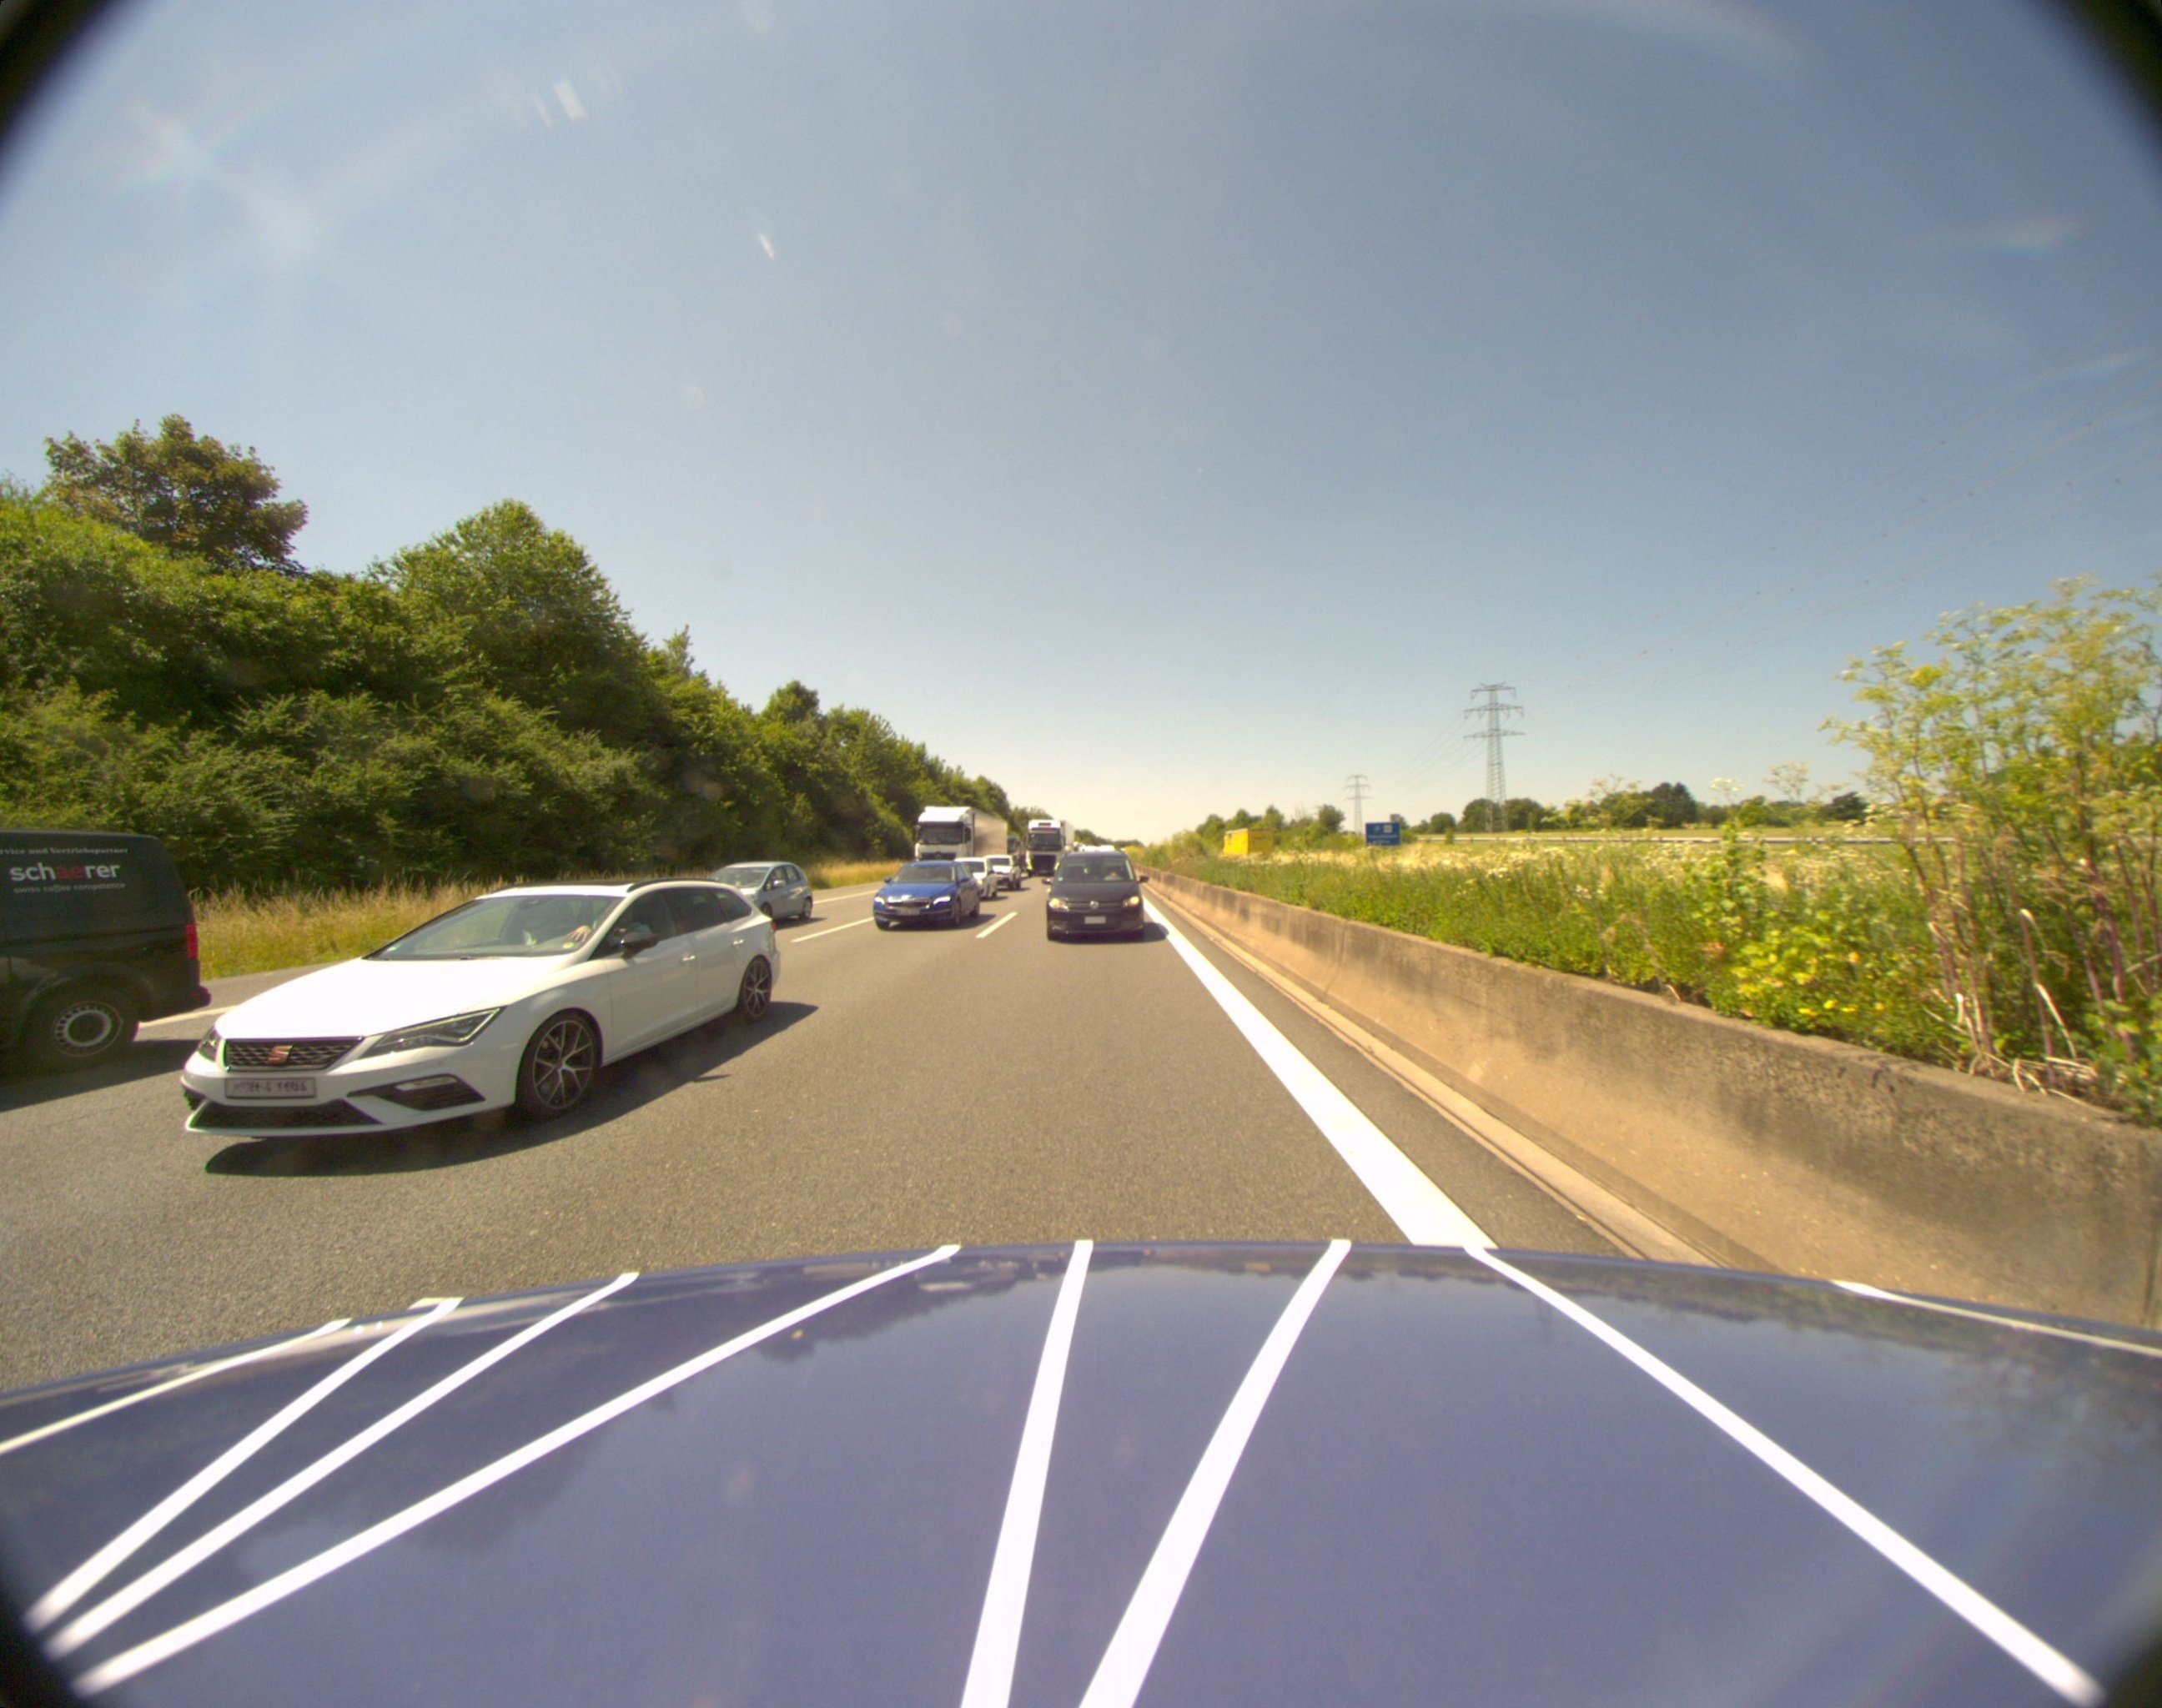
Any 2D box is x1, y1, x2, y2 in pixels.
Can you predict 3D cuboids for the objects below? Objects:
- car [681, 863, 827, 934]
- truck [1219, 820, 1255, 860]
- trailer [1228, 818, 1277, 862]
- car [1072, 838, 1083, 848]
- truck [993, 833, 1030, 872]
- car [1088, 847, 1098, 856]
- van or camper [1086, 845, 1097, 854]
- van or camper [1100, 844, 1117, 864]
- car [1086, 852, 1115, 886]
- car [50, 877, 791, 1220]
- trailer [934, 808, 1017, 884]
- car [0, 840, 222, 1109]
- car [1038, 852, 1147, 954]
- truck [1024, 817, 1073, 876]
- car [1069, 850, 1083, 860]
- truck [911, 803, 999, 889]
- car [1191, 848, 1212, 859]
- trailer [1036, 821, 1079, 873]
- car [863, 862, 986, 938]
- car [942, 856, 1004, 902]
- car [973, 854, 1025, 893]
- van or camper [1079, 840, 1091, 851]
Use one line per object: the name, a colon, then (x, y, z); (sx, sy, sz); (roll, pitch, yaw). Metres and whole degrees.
car: (-7.649, 0.978, 18.220); (1.666, 1.453, 3.922); (0, 0, 2)
truck: (17.957, -1.622, 87.829); (2.785, 4.212, 7.324); (-3, 1, 2)
trailer: (17.776, -1.481, 79.448); (2.828, 4.182, 10.685); (-3, 1, 2)
car: (-0.684, -2.257, 158.114); (1.998, 2.002, 4.000); (-2, 1, 2)
truck: (-5.842, -0.189, 64.890); (2.299, 3.128, 5.675); (-2, 1, 3)
car: (2.268, -0.516, 144.454); (1.652, 1.636, 4.000); (-2, 1, 3)
van or camper: (2.289, -0.970, 162.979); (2.189, 2.018, 4.364); (-2, 1, 3)
van or camper: (3.528, -0.066, 97.404); (1.956, 2.368, 4.037); (-3, 1, 3)
car: (1.062, 0.748, 40.322); (1.357, 1.630, 2.994); (-3, 1, 3)
car: (-4.006, 1.013, 5.813); (1.752, 1.435, 4.313); (-1, 1, 2)
trailer: (-6.328, -0.525, 47.895); (2.879, 4.133, 12.076); (-2, 1, 3)
car: (-8.785, 0.905, 4.404); (1.918, 1.929, 4.856); (-1, 1, 2)
car: (0.275, 0.807, 15.144); (1.758, 1.571, 5.291); (-1, 1, 2)
truck: (-2.240, -0.562, 55.812); (2.750, 3.972, 8.361); (-2, 1, 3)
car: (-0.704, 0.106, 103.507); (1.650, 1.336, 3.381); (-2, 1, 3)
truck: (-6.630, -0.440, 41.516); (2.879, 4.133, 8.475); (-2, 1, 3)
car: (12.881, -0.054, 81.319); (1.679, 1.124, 3.342); (-2, 1, 0)
trailer: (-1.842, -0.579, 63.495); (2.776, 3.951, 9.156); (-2, 1, 3)
car: (-3.491, 0.966, 17.835); (1.780, 1.408, 4.572); (0, 1, 2)
car: (-3.801, 0.846, 27.277); (1.609, 1.426, 3.809); (0, 1, 1)
car: (-3.573, 0.805, 33.679); (1.748, 1.549, 3.884); (0, 1, 2)
van or camper: (1.107, -2.198, 189.946); (2.745, 2.679, 5.363); (-2, 1, 2)
